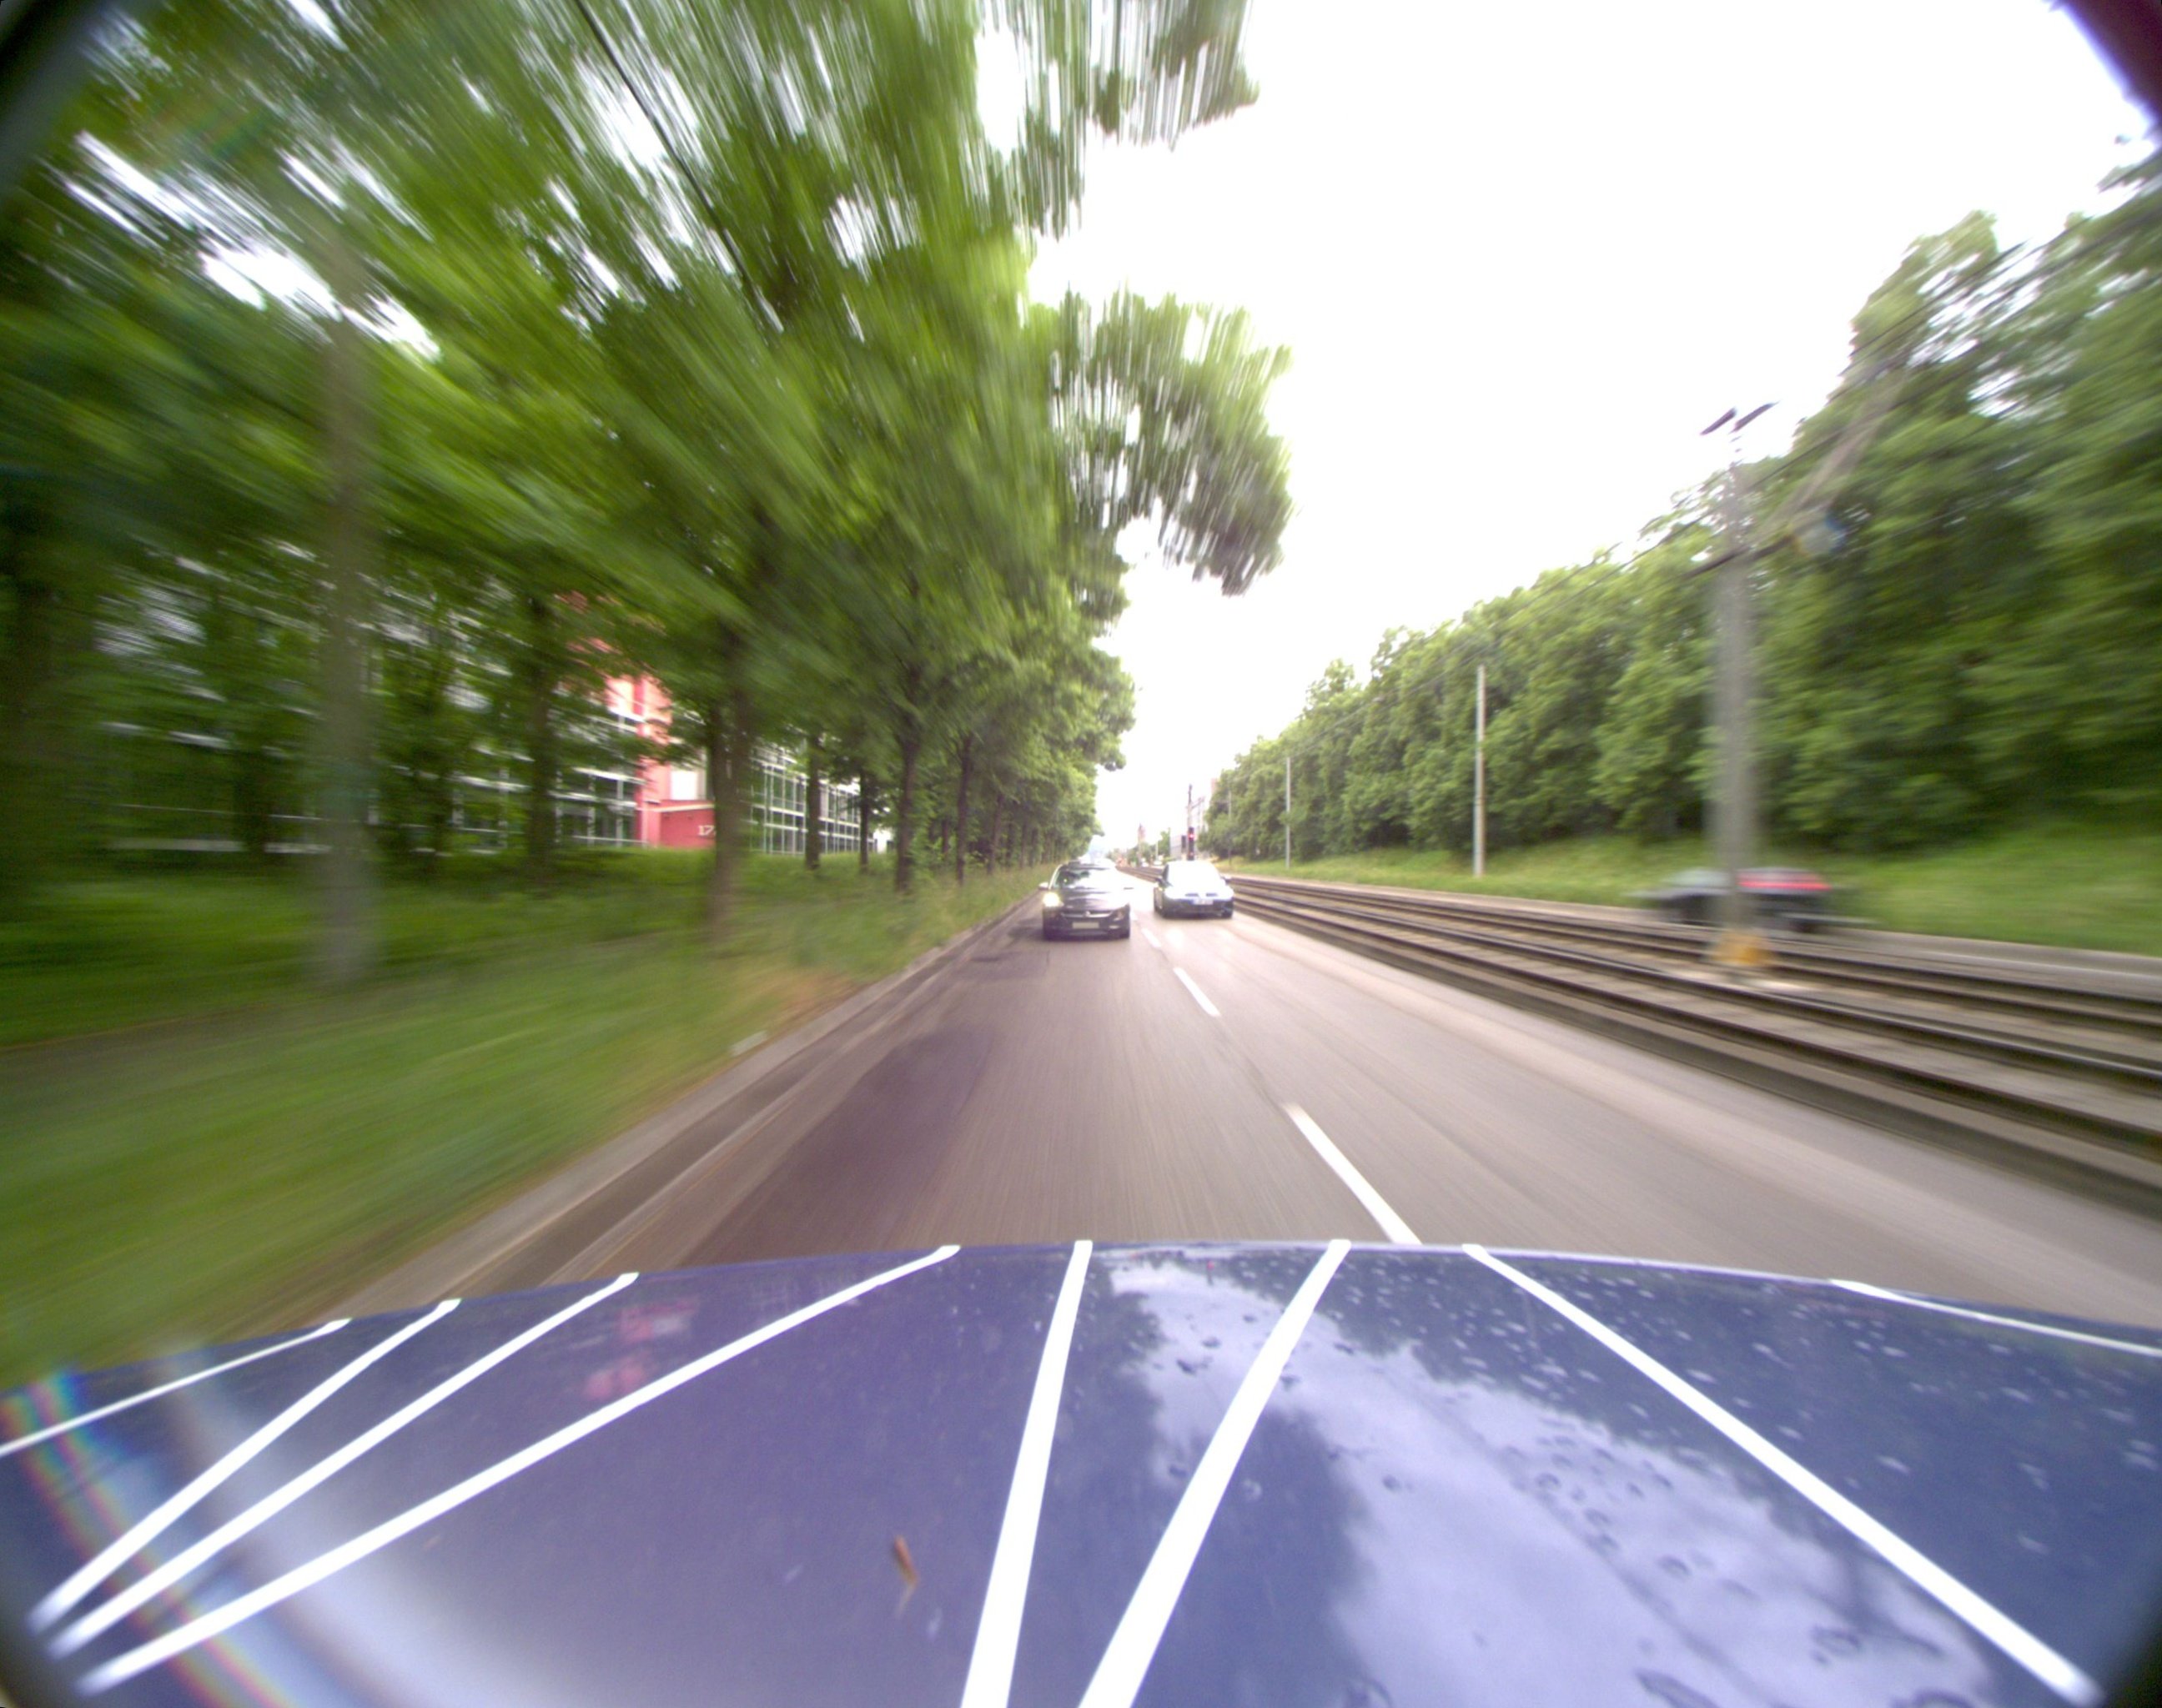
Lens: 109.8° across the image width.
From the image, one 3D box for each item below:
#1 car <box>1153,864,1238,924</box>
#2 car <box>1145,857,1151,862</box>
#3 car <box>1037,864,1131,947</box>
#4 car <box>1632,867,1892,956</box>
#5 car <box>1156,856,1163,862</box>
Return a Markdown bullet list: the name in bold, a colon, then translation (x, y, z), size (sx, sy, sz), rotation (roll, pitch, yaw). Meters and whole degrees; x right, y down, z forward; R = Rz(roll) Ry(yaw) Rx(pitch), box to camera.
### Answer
- **car**: translation (3.001, 1.003, 20.616), size (1.770, 1.439, 3.833), rotation (0, 0, 1)
- **car**: translation (22.691, 1.882, 257.471), size (1.657, 1.520, 4.381), rotation (0, 0, 1)
- **car**: translation (0.118, 0.973, 16.204), size (1.698, 1.439, 4.420), rotation (-2, 0, 2)
- **car**: translation (13.651, 1.064, 15.615), size (1.674, 1.435, 4.026), rotation (2, 0, 0)
- **car**: translation (19.610, 1.283, 190.178), size (1.480, 1.427, 3.909), rotation (2, 0, 1)
